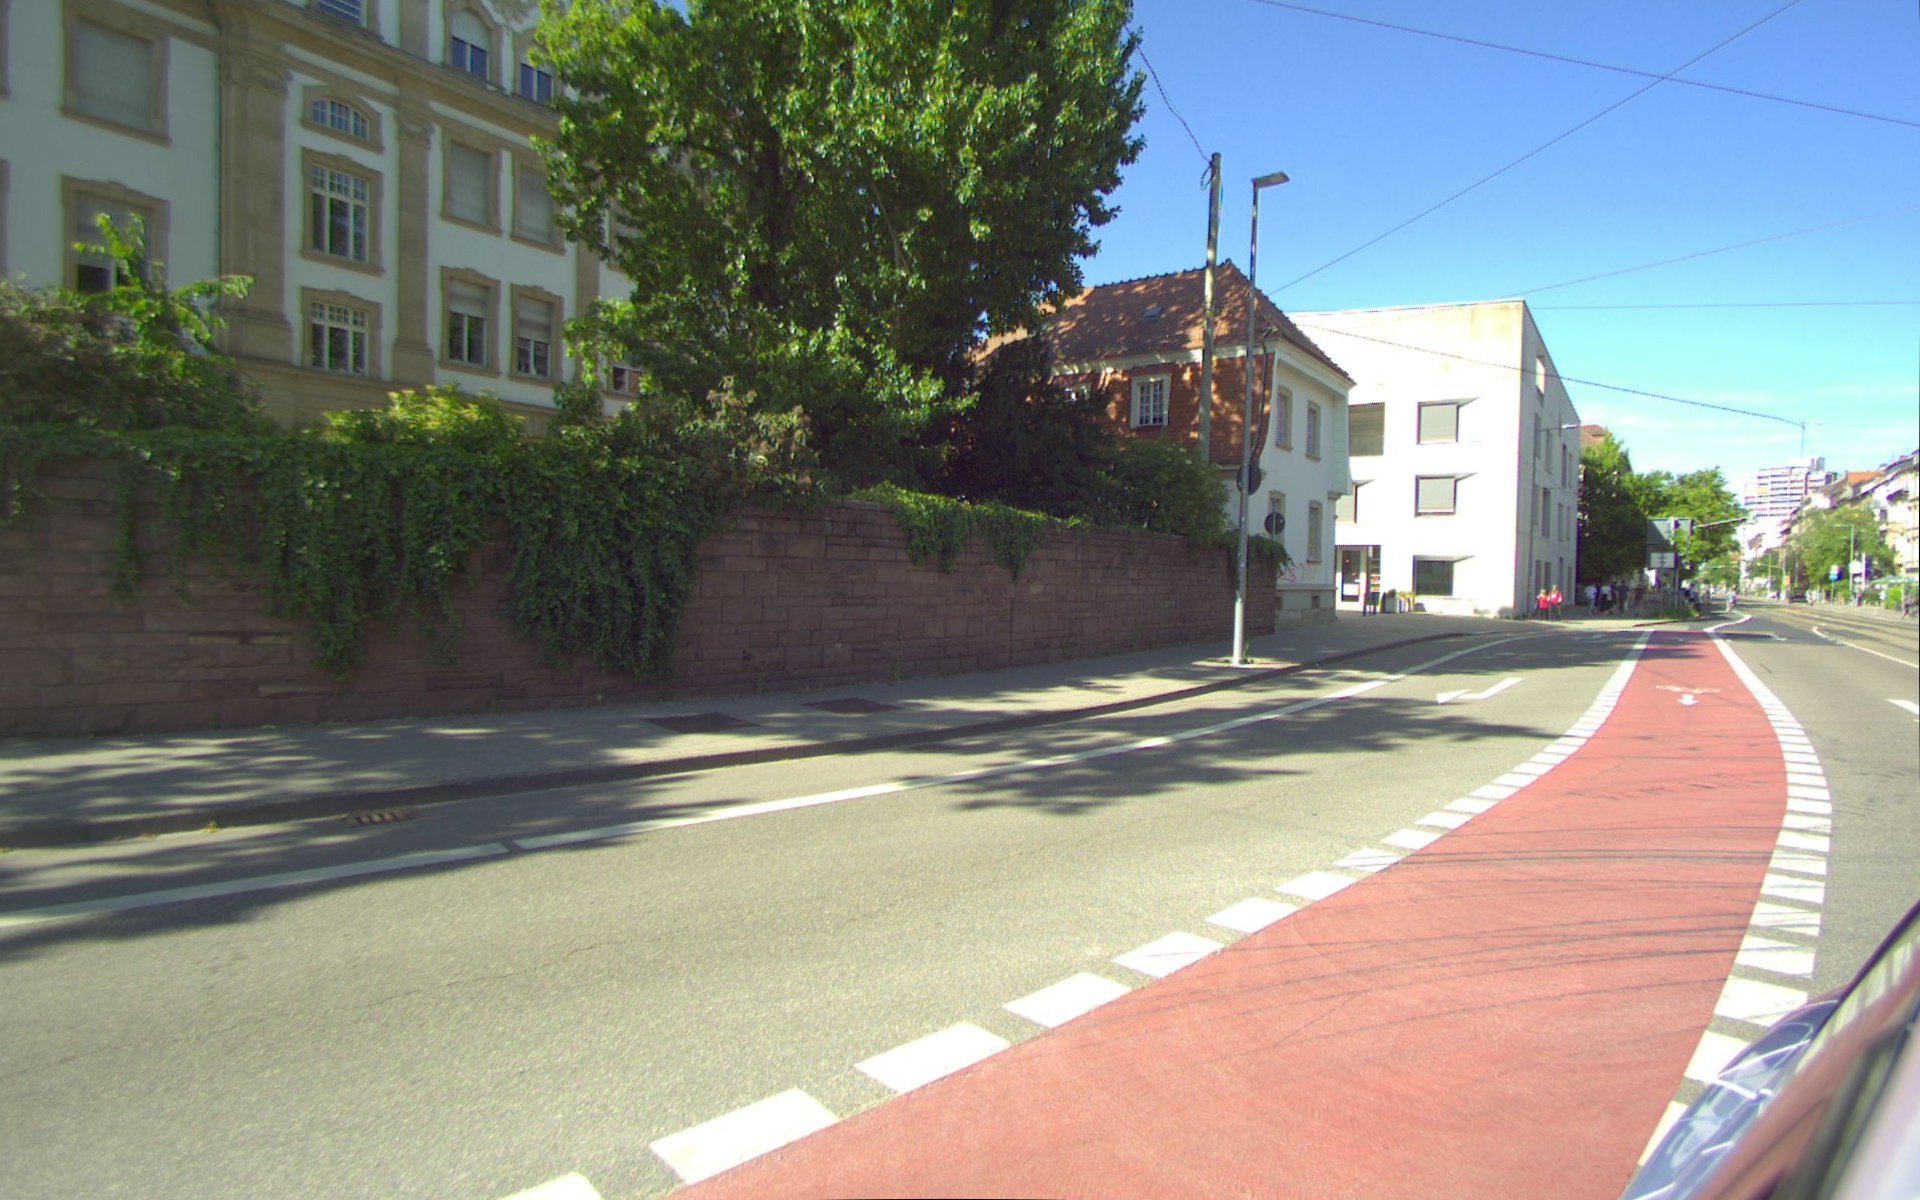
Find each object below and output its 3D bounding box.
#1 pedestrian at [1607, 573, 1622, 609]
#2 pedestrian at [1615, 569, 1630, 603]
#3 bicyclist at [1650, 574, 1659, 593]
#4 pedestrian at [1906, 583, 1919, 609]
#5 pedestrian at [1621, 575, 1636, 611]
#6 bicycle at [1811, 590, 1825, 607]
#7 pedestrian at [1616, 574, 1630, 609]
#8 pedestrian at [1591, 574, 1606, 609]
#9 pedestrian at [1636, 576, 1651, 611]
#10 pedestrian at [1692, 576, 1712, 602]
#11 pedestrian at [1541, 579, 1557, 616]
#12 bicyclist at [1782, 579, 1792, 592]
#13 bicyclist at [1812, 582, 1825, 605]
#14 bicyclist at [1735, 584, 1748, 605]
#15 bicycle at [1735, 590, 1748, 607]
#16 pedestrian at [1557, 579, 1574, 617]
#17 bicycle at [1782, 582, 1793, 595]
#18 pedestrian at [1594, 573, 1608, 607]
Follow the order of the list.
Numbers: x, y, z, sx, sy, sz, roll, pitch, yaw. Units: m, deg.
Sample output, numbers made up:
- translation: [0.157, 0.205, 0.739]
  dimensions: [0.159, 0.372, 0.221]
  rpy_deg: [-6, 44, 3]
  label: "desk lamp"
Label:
- translation: [33.921, -0.454, 52.478]
  dimensions: [0.584, 1.828, 0.538]
  rpy_deg: [2, 1, 36]
  label: "pedestrian"
- translation: [36.218, -0.746, 55.319]
  dimensions: [0.584, 1.828, 0.538]
  rpy_deg: [2, 1, 36]
  label: "pedestrian"
- translation: [81.851, -1.947, 119.247]
  dimensions: [0.809, 2.234, 0.971]
  rpy_deg: [0, 1, 39]
  label: "bicyclist"
- translation: [68.881, -0.284, 73.182]
  dimensions: [0.576, 1.879, 0.675]
  rpy_deg: [2, 2, 37]
  label: "pedestrian"
- translation: [34.405, -0.378, 52.095]
  dimensions: [0.584, 1.828, 0.513]
  rpy_deg: [2, 1, 36]
  label: "pedestrian"
- translation: [86.780, -0.159, 102.310]
  dimensions: [0.999, 1.702, 2.943]
  rpy_deg: [0, 2, 39]
  label: "bicycle"
- translation: [35.483, -0.473, 54.172]
  dimensions: [0.584, 1.828, 0.575]
  rpy_deg: [2, 1, 36]
  label: "pedestrian"
- translation: [33.393, -0.461, 52.909]
  dimensions: [0.584, 1.828, 0.538]
  rpy_deg: [2, 1, 36]
  label: "pedestrian"
- translation: [35.041, -0.341, 51.872]
  dimensions: [0.584, 1.749, 0.513]
  rpy_deg: [2, 1, 36]
  label: "pedestrian"
- translation: [51.225, -0.770, 69.866]
  dimensions: [0.912, 1.759, 0.680]
  rpy_deg: [1, 1, -22]
  label: "pedestrian"
- translation: [25.582, -0.107, 43.954]
  dimensions: [0.531, 1.586, 0.513]
  rpy_deg: [2, 1, 36]
  label: "pedestrian"
- translation: [111.007, -1.893, 135.814]
  dimensions: [0.998, 1.743, 0.972]
  rpy_deg: [0, 1, 37]
  label: "bicyclist"
- translation: [86.745, -0.694, 102.270]
  dimensions: [0.999, 2.296, 1.006]
  rpy_deg: [0, 1, 39]
  label: "bicyclist"
- translation: [54.812, -0.411, 70.978]
  dimensions: [0.663, 1.480, 0.613]
  rpy_deg: [0, 1, 41]
  label: "bicyclist"
- translation: [54.826, -0.115, 70.996]
  dimensions: [0.663, 1.166, 1.648]
  rpy_deg: [0, 2, 40]
  label: "bicycle"
- translation: [26.049, -0.096, 43.548]
  dimensions: [0.531, 1.586, 0.513]
  rpy_deg: [2, 1, 36]
  label: "pedestrian"
- translation: [111.015, -1.550, 135.821]
  dimensions: [0.998, 1.702, 2.946]
  rpy_deg: [0, 2, 37]
  label: "bicycle"
- translation: [34.555, -0.526, 54.566]
  dimensions: [0.584, 1.828, 0.575]
  rpy_deg: [2, 1, 36]
  label: "pedestrian"
